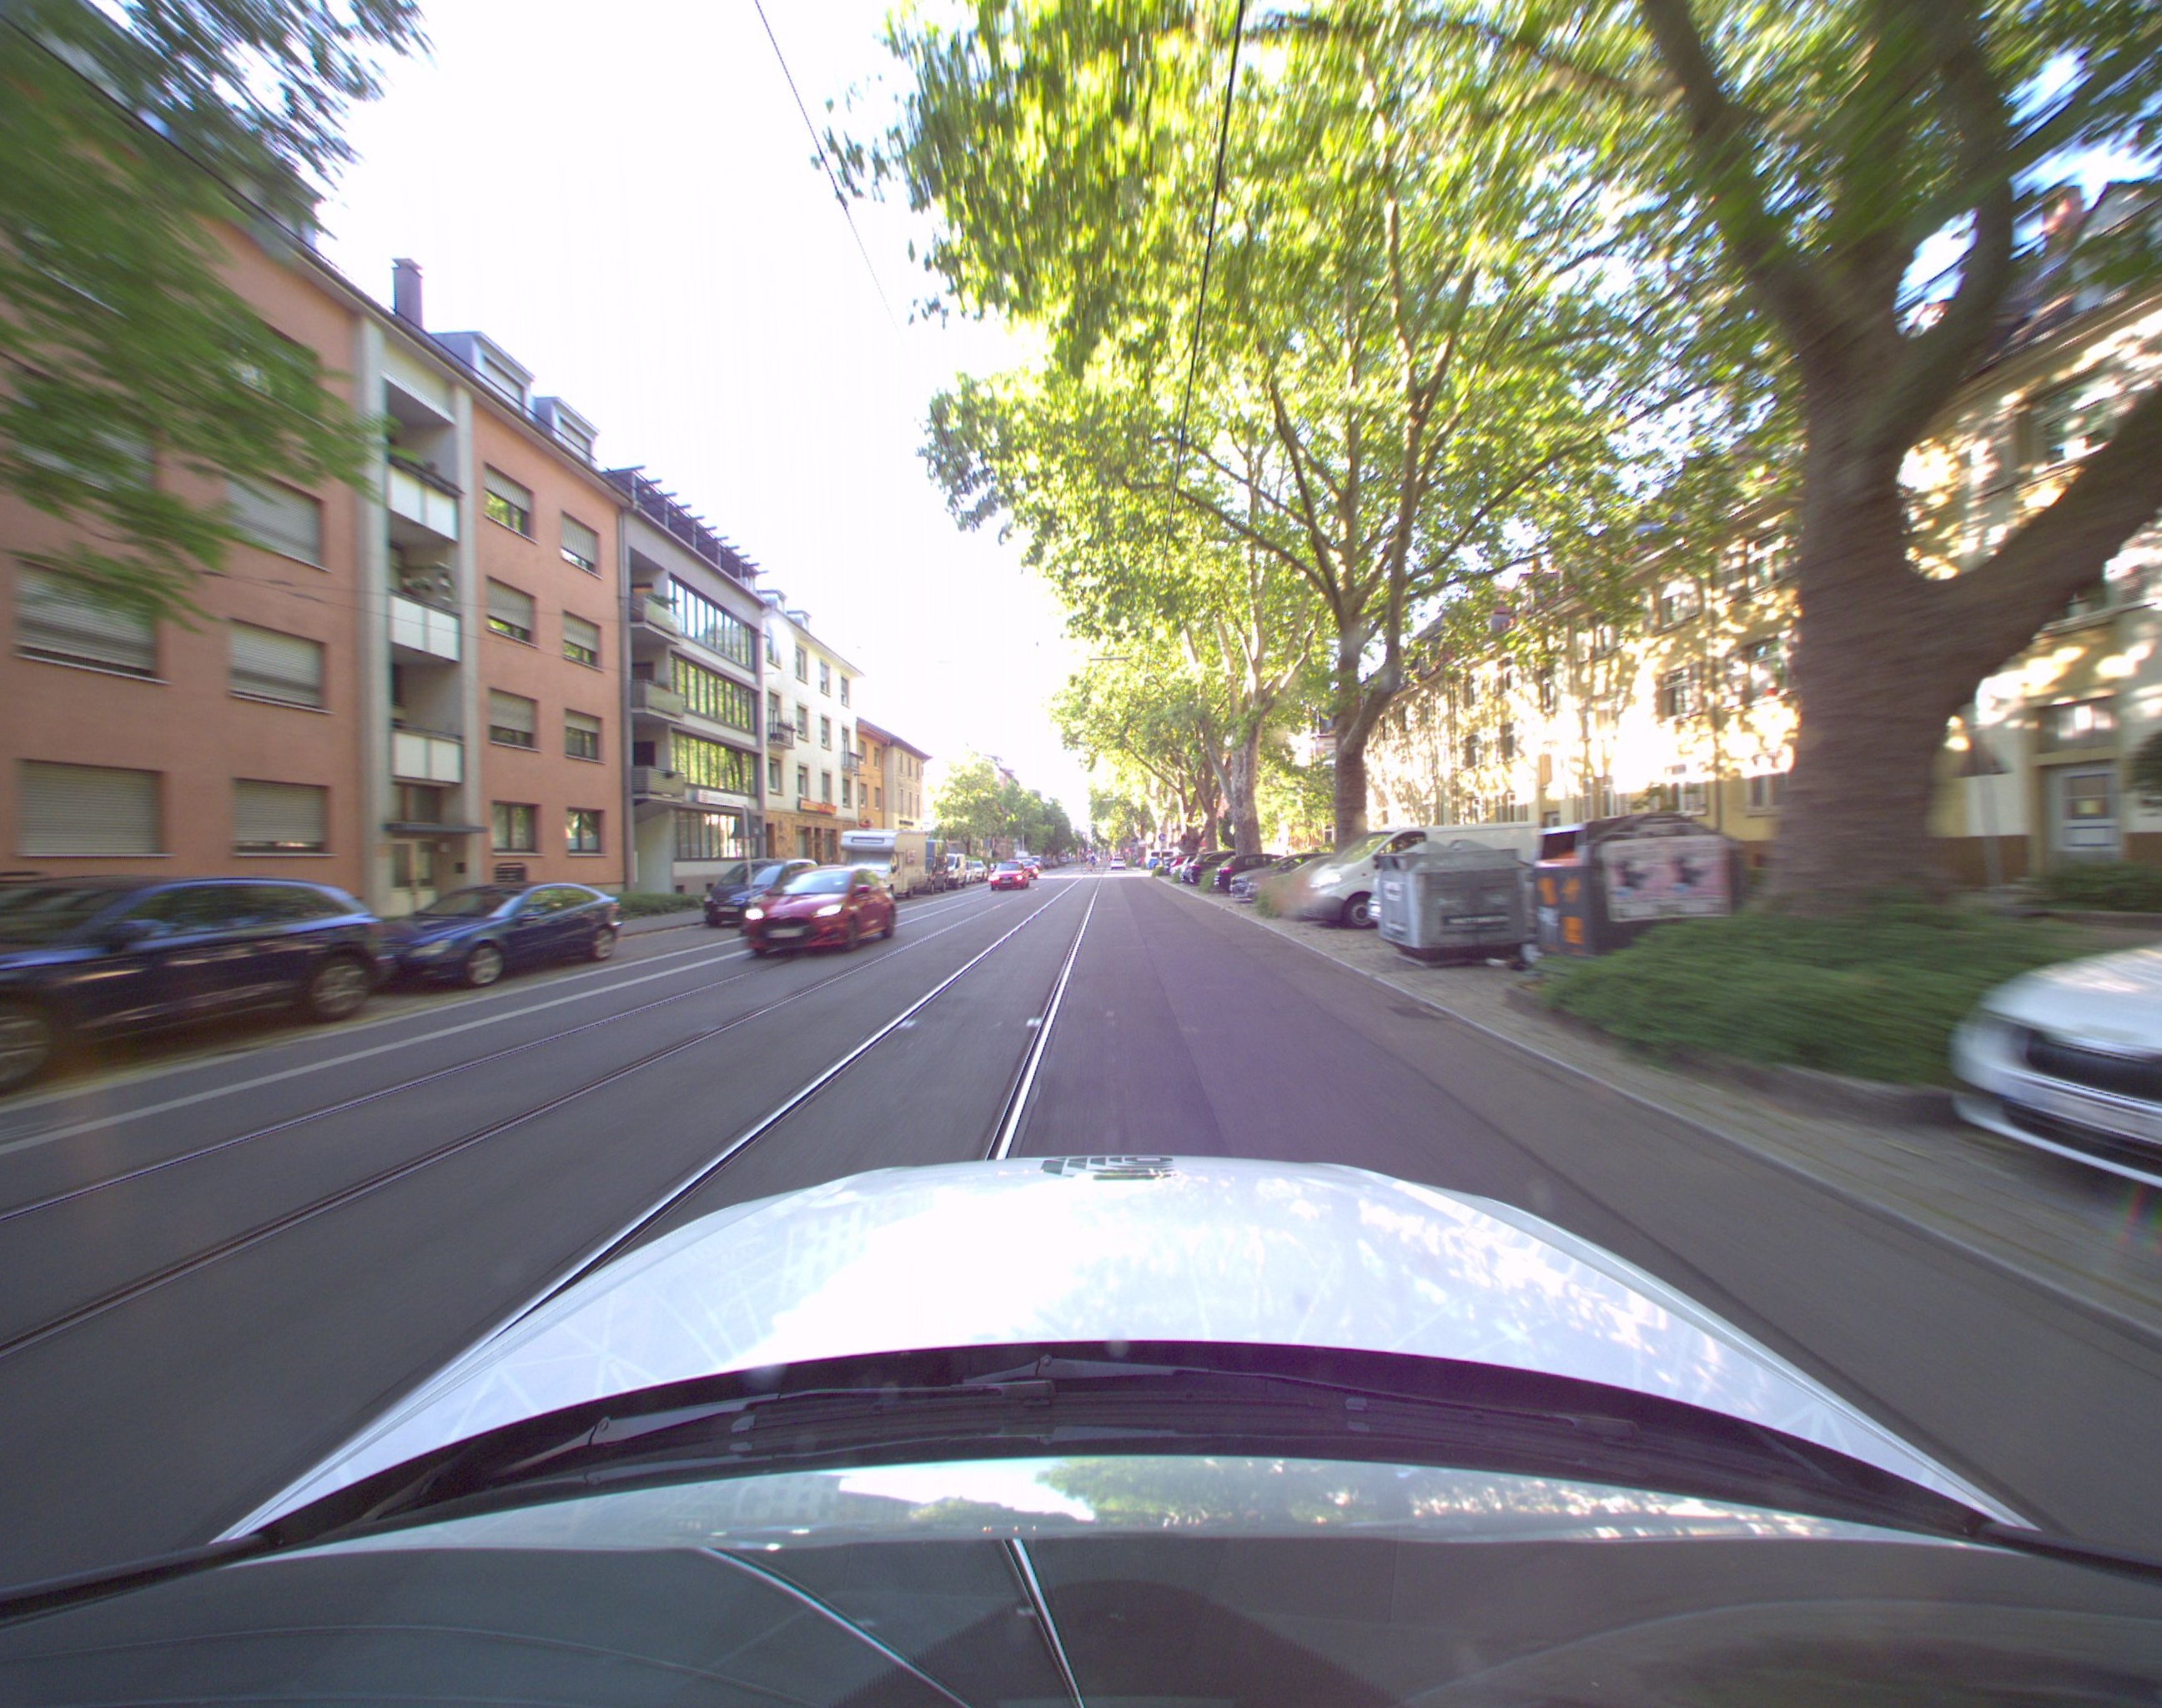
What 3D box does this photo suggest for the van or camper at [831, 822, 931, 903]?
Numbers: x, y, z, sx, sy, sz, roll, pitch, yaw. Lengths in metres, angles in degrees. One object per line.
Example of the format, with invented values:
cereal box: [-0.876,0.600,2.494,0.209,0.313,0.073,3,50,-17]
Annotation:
van or camper: [-8.331,0.335,34.706,2.328,3.041,6.402,2,0,3]

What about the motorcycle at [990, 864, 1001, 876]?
motorcycle: [-8.519,1.578,80.997,0.760,1.107,2.331,-1,2,2]

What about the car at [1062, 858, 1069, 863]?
car: [-4.190,1.718,219.966,1.912,1.419,3.589,-2,0,-1]

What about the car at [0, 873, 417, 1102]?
car: [-9.048,1.058,7.635,1.775,1.610,4.588,1,0,1]

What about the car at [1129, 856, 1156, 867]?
car: [9.174,1.108,122.369,3.972,1.521,2.001,-2,0,2]

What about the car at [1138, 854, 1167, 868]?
car: [10.021,0.957,114.491,3.972,1.784,2.001,-2,0,2]

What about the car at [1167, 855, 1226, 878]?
car: [7.585,0.792,53.730,3.635,1.378,1.891,-2,0,2]

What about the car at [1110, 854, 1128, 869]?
car: [4.490,0.881,96.415,1.911,1.584,3.792,-3,0,2]

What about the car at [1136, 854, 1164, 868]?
car: [9.882,0.977,116.779,3.972,1.784,2.001,-2,0,2]

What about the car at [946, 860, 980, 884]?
car: [-7.720,1.155,53.433,1.565,1.526,3.043,0,0,4]

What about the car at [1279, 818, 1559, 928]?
car: [6.699,0.368,16.545,4.821,1.963,2.064,-2,0,-1]

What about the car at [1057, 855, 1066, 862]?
car: [-4.455,1.044,187.730,1.912,1.419,3.720,-2,0,0]

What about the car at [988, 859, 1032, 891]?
car: [-3.604,1.047,41.871,1.717,1.437,4.070,-3,0,2]

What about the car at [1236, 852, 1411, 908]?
car: [6.605,0.703,22.571,4.375,1.380,1.807,-2,-1,5]

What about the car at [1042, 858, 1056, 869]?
car: [-5.432,1.580,139.326,1.986,1.745,4.661,-2,0,2]

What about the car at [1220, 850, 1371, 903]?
car: [6.624,0.681,25.454,4.231,1.483,1.898,-2,0,1]

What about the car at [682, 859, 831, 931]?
car: [-8.630,1.013,22.265,1.945,1.686,5.071,0,0,1]

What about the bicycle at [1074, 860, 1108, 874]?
bicycle: [0.873,1.185,73.966,2.946,1.105,1.049,-2,0,-8]

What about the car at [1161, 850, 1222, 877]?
car: [7.572,0.649,55.957,3.911,1.670,1.960,-2,0,0]

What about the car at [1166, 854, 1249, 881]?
car: [7.544,0.782,48.859,4.669,1.446,1.893,-2,0,2]

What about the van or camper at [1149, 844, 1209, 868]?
van or camper: [9.543,0.170,79.865,5.542,2.013,2.242,-2,2,-3]

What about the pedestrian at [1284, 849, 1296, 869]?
pedestrian: [14.980,0.369,58.453,0.659,1.455,0.821,-2,-1,2]

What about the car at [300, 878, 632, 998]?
car: [-9.102,1.143,12.642,1.732,1.401,4.383,1,0,1]

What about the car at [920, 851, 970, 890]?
car: [-7.816,0.908,47.371,1.946,2.091,5.248,2,1,0]

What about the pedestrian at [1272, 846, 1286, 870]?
pedestrian: [14.446,0.298,59.480,0.757,1.739,0.821,-2,-1,2]

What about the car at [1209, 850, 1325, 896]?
car: [6.645,0.665,29.364,3.824,1.509,1.711,-2,0,1]

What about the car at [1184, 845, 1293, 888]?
car: [6.877,0.534,35.998,4.474,1.602,2.030,-3,-1,5]

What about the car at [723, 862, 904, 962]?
car: [-4.670,0.943,14.928,1.769,1.458,4.204,-3,0,2]

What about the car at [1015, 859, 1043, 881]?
car: [-3.883,1.167,61.249,1.657,1.479,3.952,-3,0,2]

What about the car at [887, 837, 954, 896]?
car: [-8.047,0.589,41.317,2.078,2.731,5.312,1,0,2]

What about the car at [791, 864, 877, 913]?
car: [-8.447,1.146,28.192,1.704,1.488,3.862,1,0,1]

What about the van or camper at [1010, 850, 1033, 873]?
van or camper: [-6.850,0.880,94.317,2.071,2.533,5.320,-2,0,2]

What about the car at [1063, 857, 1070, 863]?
car: [-3.984,1.748,224.210,1.914,1.419,3.586,-4,-1,-3]

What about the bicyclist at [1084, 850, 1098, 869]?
bicyclist: [0.893,0.515,73.977,1.045,1.705,1.055,-2,0,-8]

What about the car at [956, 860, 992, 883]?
car: [-7.541,1.184,57.911,1.830,1.468,5.068,1,0,0]

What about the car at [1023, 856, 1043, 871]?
car: [-6.369,1.278,108.990,2.165,1.861,4.661,-2,0,2]

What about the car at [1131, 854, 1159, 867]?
car: [9.401,0.970,120.056,3.972,1.784,2.001,-2,0,2]

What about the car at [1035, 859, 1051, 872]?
car: [-5.709,1.748,123.395,1.986,1.861,4.180,-2,0,2]

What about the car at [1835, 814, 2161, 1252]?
car: [6.002,0.567,3.135,4.349,1.542,1.804,-2,0,5]

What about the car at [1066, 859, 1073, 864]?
car: [-3.469,2.138,242.056,1.912,1.419,3.590,-2,0,0]

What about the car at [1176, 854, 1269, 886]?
car: [6.969,0.795,40.475,4.281,1.439,1.948,-2,0,0]

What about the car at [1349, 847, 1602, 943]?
car: [6.631,0.660,13.953,3.516,1.446,1.672,-2,0,-1]

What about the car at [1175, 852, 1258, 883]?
car: [7.093,0.709,42.938,4.126,1.509,1.797,-2,0,2]
